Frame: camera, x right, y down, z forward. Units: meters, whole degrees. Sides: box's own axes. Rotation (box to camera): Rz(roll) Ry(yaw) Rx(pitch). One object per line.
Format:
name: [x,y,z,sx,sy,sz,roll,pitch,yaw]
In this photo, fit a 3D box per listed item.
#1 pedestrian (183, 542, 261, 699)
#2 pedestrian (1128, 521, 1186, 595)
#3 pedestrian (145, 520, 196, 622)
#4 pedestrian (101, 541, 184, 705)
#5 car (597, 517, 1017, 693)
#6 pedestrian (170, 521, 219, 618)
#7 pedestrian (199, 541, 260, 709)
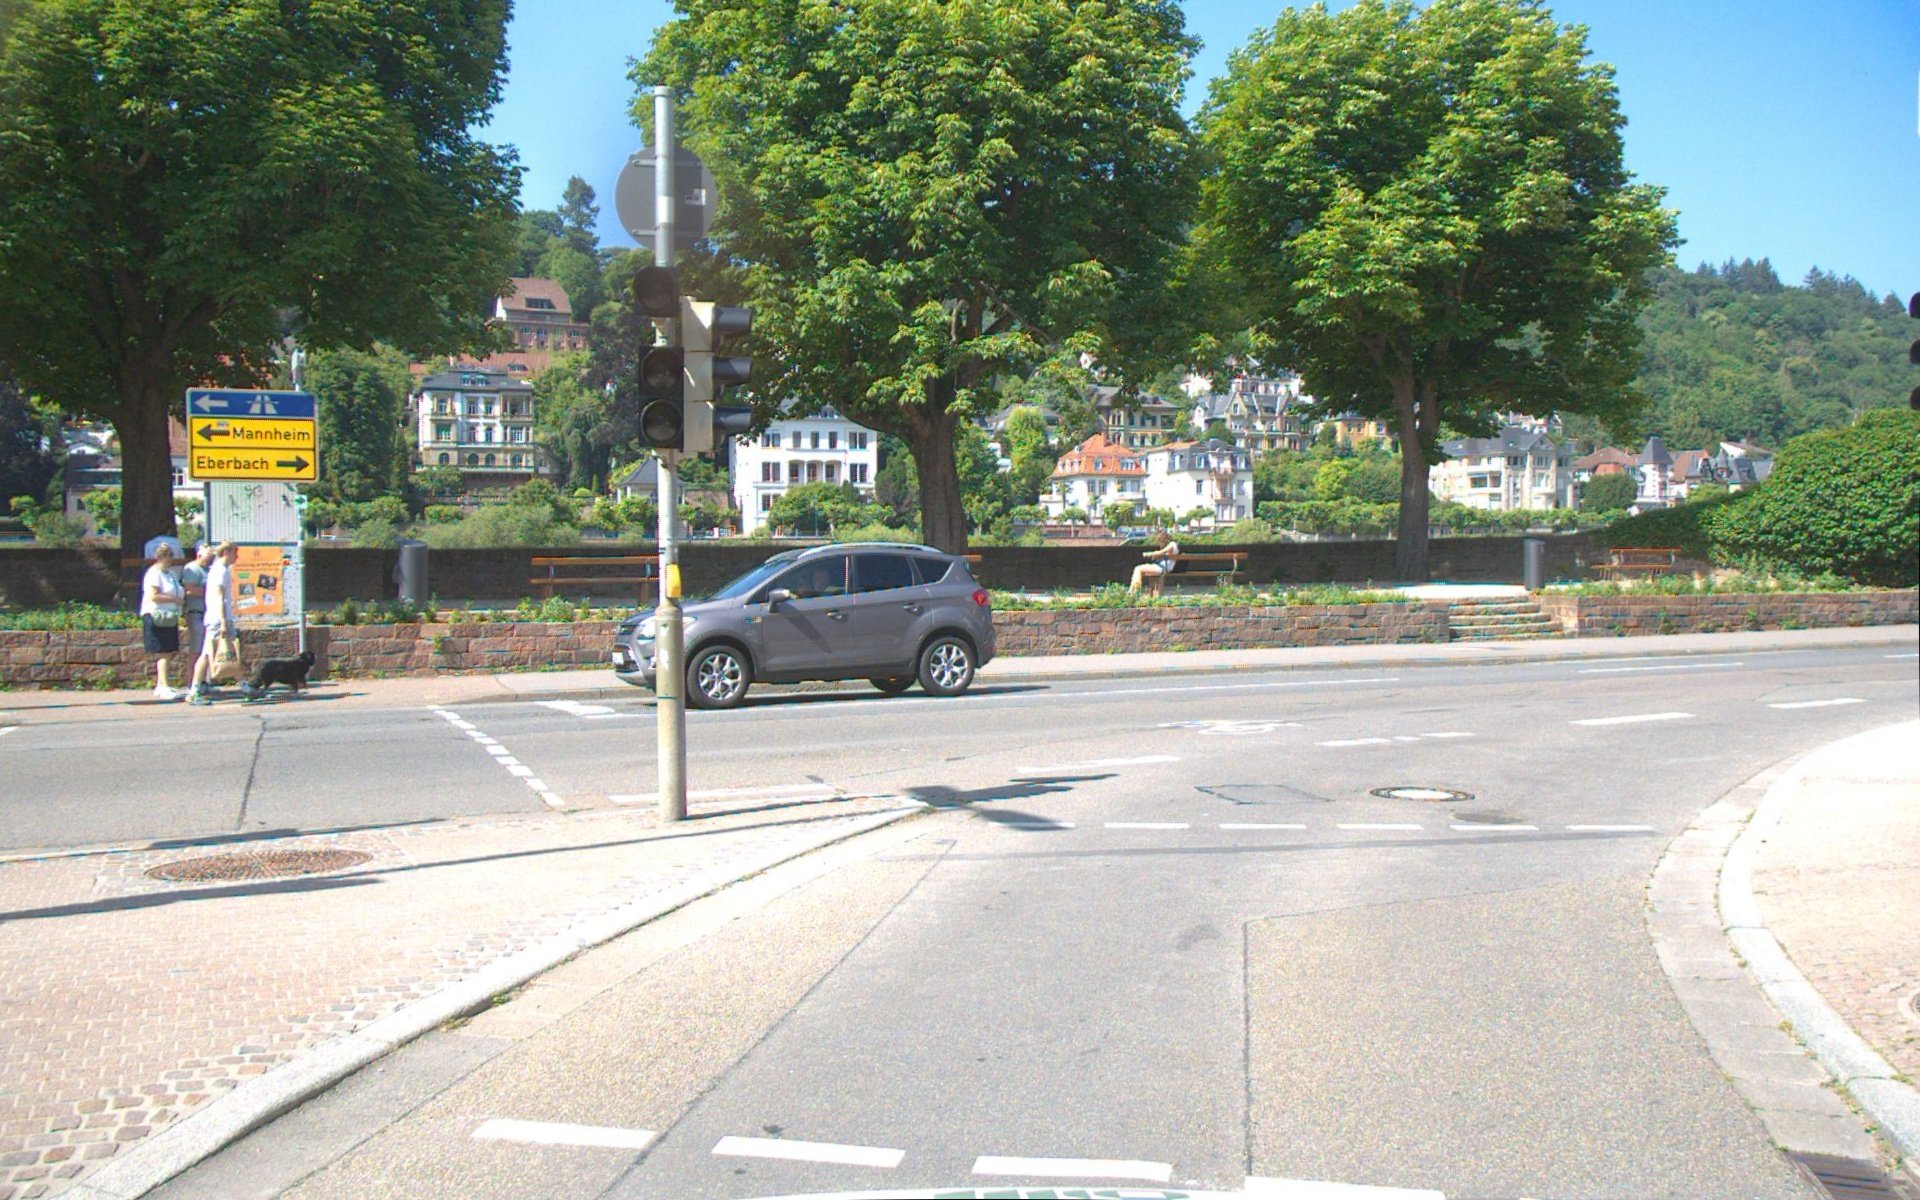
pedestrian: [-8.720,0.232,19.532,0.682,1.800,0.709,-2,0,-34]
pedestrian: [3.440,-0.724,28.927,0.786,1.232,0.711,1,-3,-21]
pedestrian: [-10.509,-0.373,22.033,0.545,1.302,0.699,1,-3,-23]
pedestrian: [-9.386,0.257,18.992,0.716,1.833,0.626,-2,0,-35]
car: [-1.698,0.085,18.542,4.342,1.784,1.828,0,-3,-27]
pedestrian: [-10.466,-0.400,22.628,0.545,1.250,0.979,1,-3,-23]
pedestrian: [-8.155,0.265,18.481,0.570,1.833,0.700,-1,1,-22]
